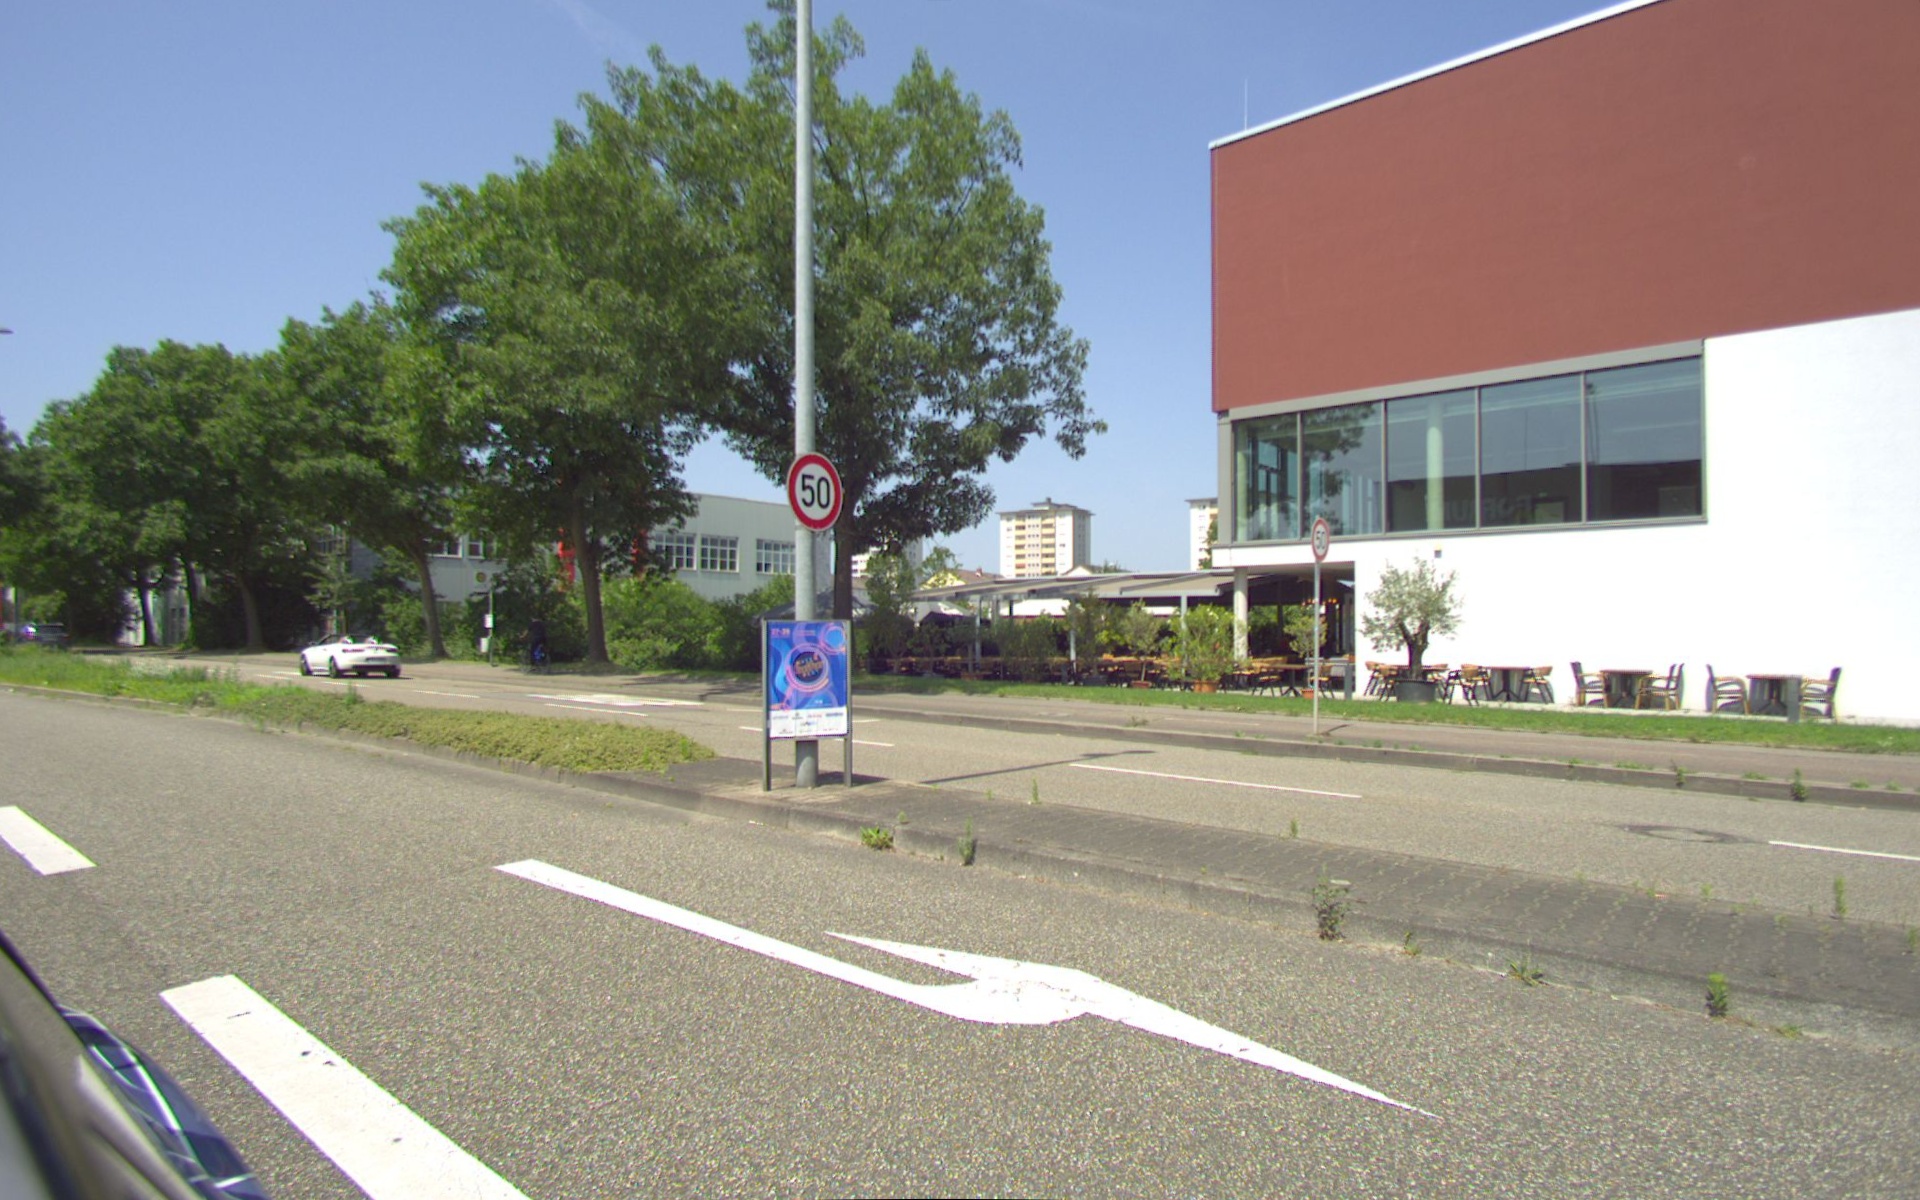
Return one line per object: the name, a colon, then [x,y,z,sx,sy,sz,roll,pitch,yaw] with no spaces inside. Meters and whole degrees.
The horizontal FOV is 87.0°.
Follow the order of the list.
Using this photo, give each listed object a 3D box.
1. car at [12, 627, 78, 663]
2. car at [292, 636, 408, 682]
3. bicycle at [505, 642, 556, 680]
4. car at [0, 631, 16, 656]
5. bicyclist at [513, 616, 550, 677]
car: [-43.057,2.103,47.618,3.881,1.612,1.670,-1,-5,40]
car: [-18.675,1.784,30.926,4.298,1.272,1.700,-1,-4,40]
bicycle: [-12.775,1.804,30.095,1.883,1.059,0.648,-1,-2,41]
car: [-54.485,2.426,56.732,3.996,1.349,1.662,-1,-5,39]
bicyclist: [-12.735,1.374,30.084,0.927,1.783,0.643,-2,-2,41]
